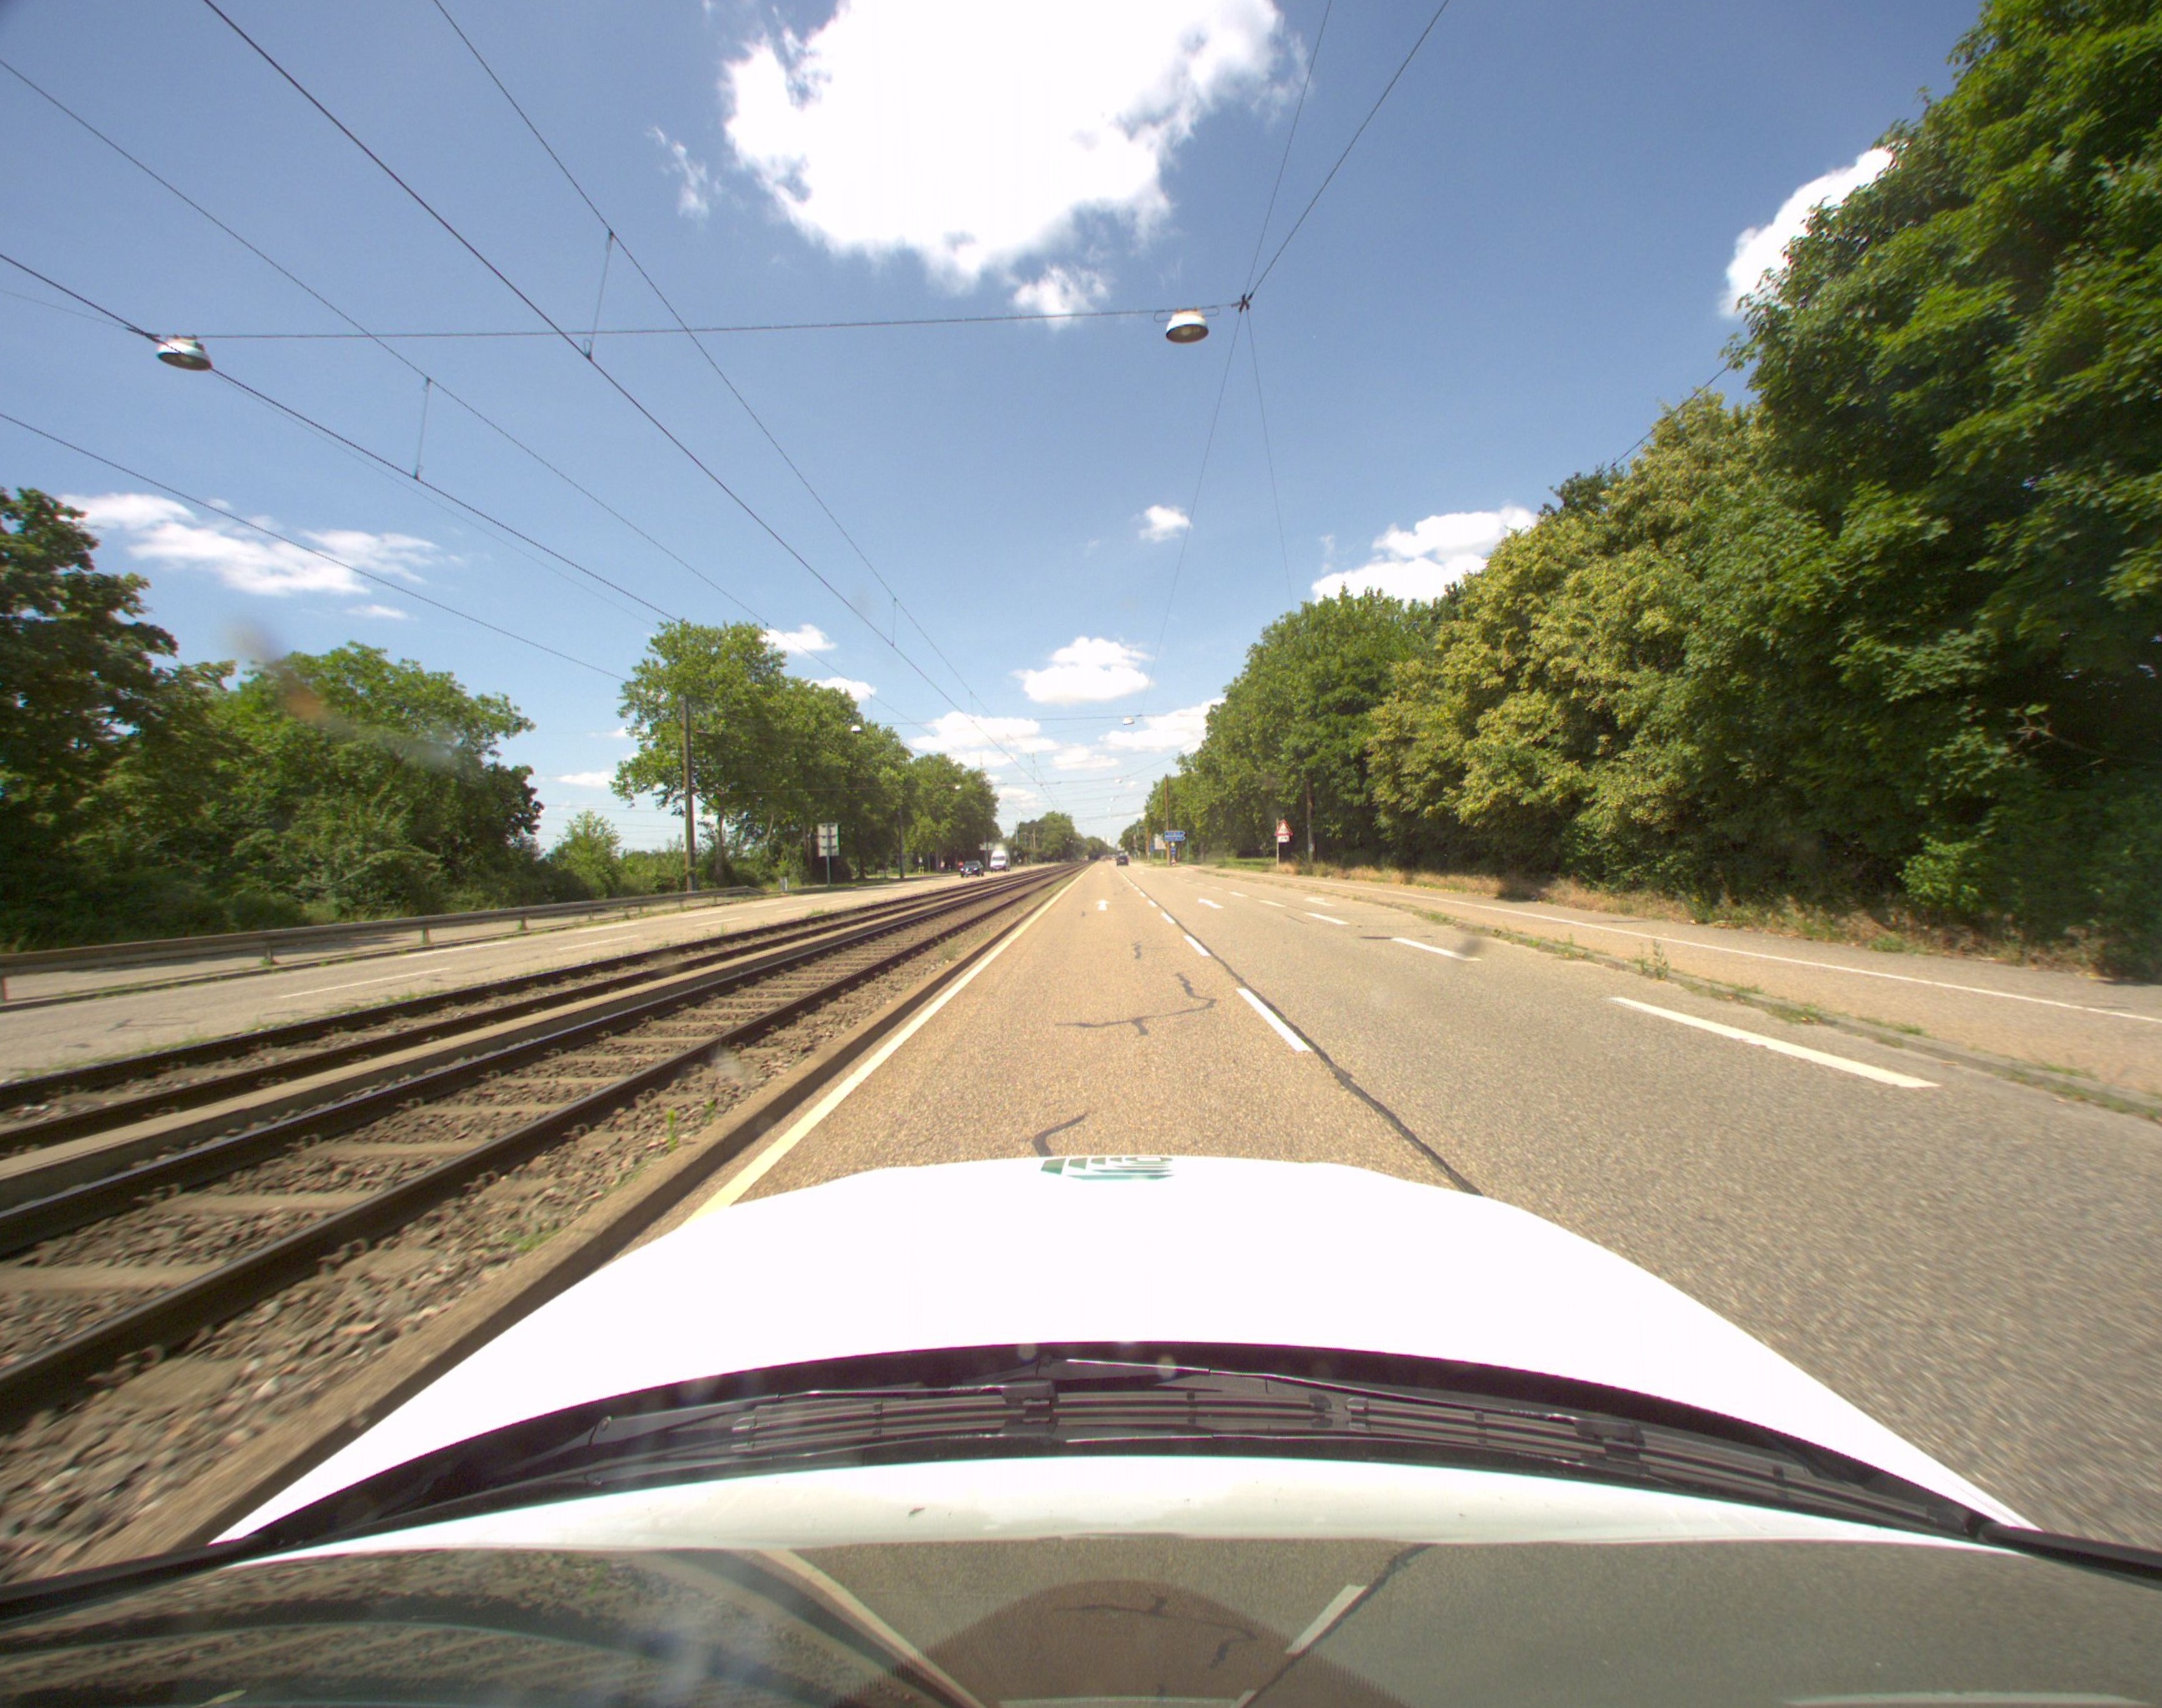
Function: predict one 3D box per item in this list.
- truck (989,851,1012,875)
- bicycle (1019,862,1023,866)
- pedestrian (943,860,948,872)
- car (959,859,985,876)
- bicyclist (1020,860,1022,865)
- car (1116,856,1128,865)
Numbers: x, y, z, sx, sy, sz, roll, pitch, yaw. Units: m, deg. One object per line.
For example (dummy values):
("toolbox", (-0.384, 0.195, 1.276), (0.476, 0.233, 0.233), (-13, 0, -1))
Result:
("truck", (-10.550, 1.140, 106.626), (2.046, 2.939, 6.322), (-3, 0, 2))
("bicycle", (-14.071, 2.371, 191.886), (0.513, 0.857, 1.934), (-4, 0, 4))
("pedestrian", (-18.676, 1.678, 112.349), (0.512, 1.551, 0.703), (-3, 0, -4))
("car", (-10.791, 1.302, 81.152), (1.811, 1.514, 4.429), (-3, 0, 2))
("bicyclist", (-14.084, 1.978, 191.802), (0.452, 1.272, 0.398), (-2, 0, 4))
("car", (6.195, 0.976, 122.392), (1.581, 1.343, 3.272), (-3, 1, 0))
